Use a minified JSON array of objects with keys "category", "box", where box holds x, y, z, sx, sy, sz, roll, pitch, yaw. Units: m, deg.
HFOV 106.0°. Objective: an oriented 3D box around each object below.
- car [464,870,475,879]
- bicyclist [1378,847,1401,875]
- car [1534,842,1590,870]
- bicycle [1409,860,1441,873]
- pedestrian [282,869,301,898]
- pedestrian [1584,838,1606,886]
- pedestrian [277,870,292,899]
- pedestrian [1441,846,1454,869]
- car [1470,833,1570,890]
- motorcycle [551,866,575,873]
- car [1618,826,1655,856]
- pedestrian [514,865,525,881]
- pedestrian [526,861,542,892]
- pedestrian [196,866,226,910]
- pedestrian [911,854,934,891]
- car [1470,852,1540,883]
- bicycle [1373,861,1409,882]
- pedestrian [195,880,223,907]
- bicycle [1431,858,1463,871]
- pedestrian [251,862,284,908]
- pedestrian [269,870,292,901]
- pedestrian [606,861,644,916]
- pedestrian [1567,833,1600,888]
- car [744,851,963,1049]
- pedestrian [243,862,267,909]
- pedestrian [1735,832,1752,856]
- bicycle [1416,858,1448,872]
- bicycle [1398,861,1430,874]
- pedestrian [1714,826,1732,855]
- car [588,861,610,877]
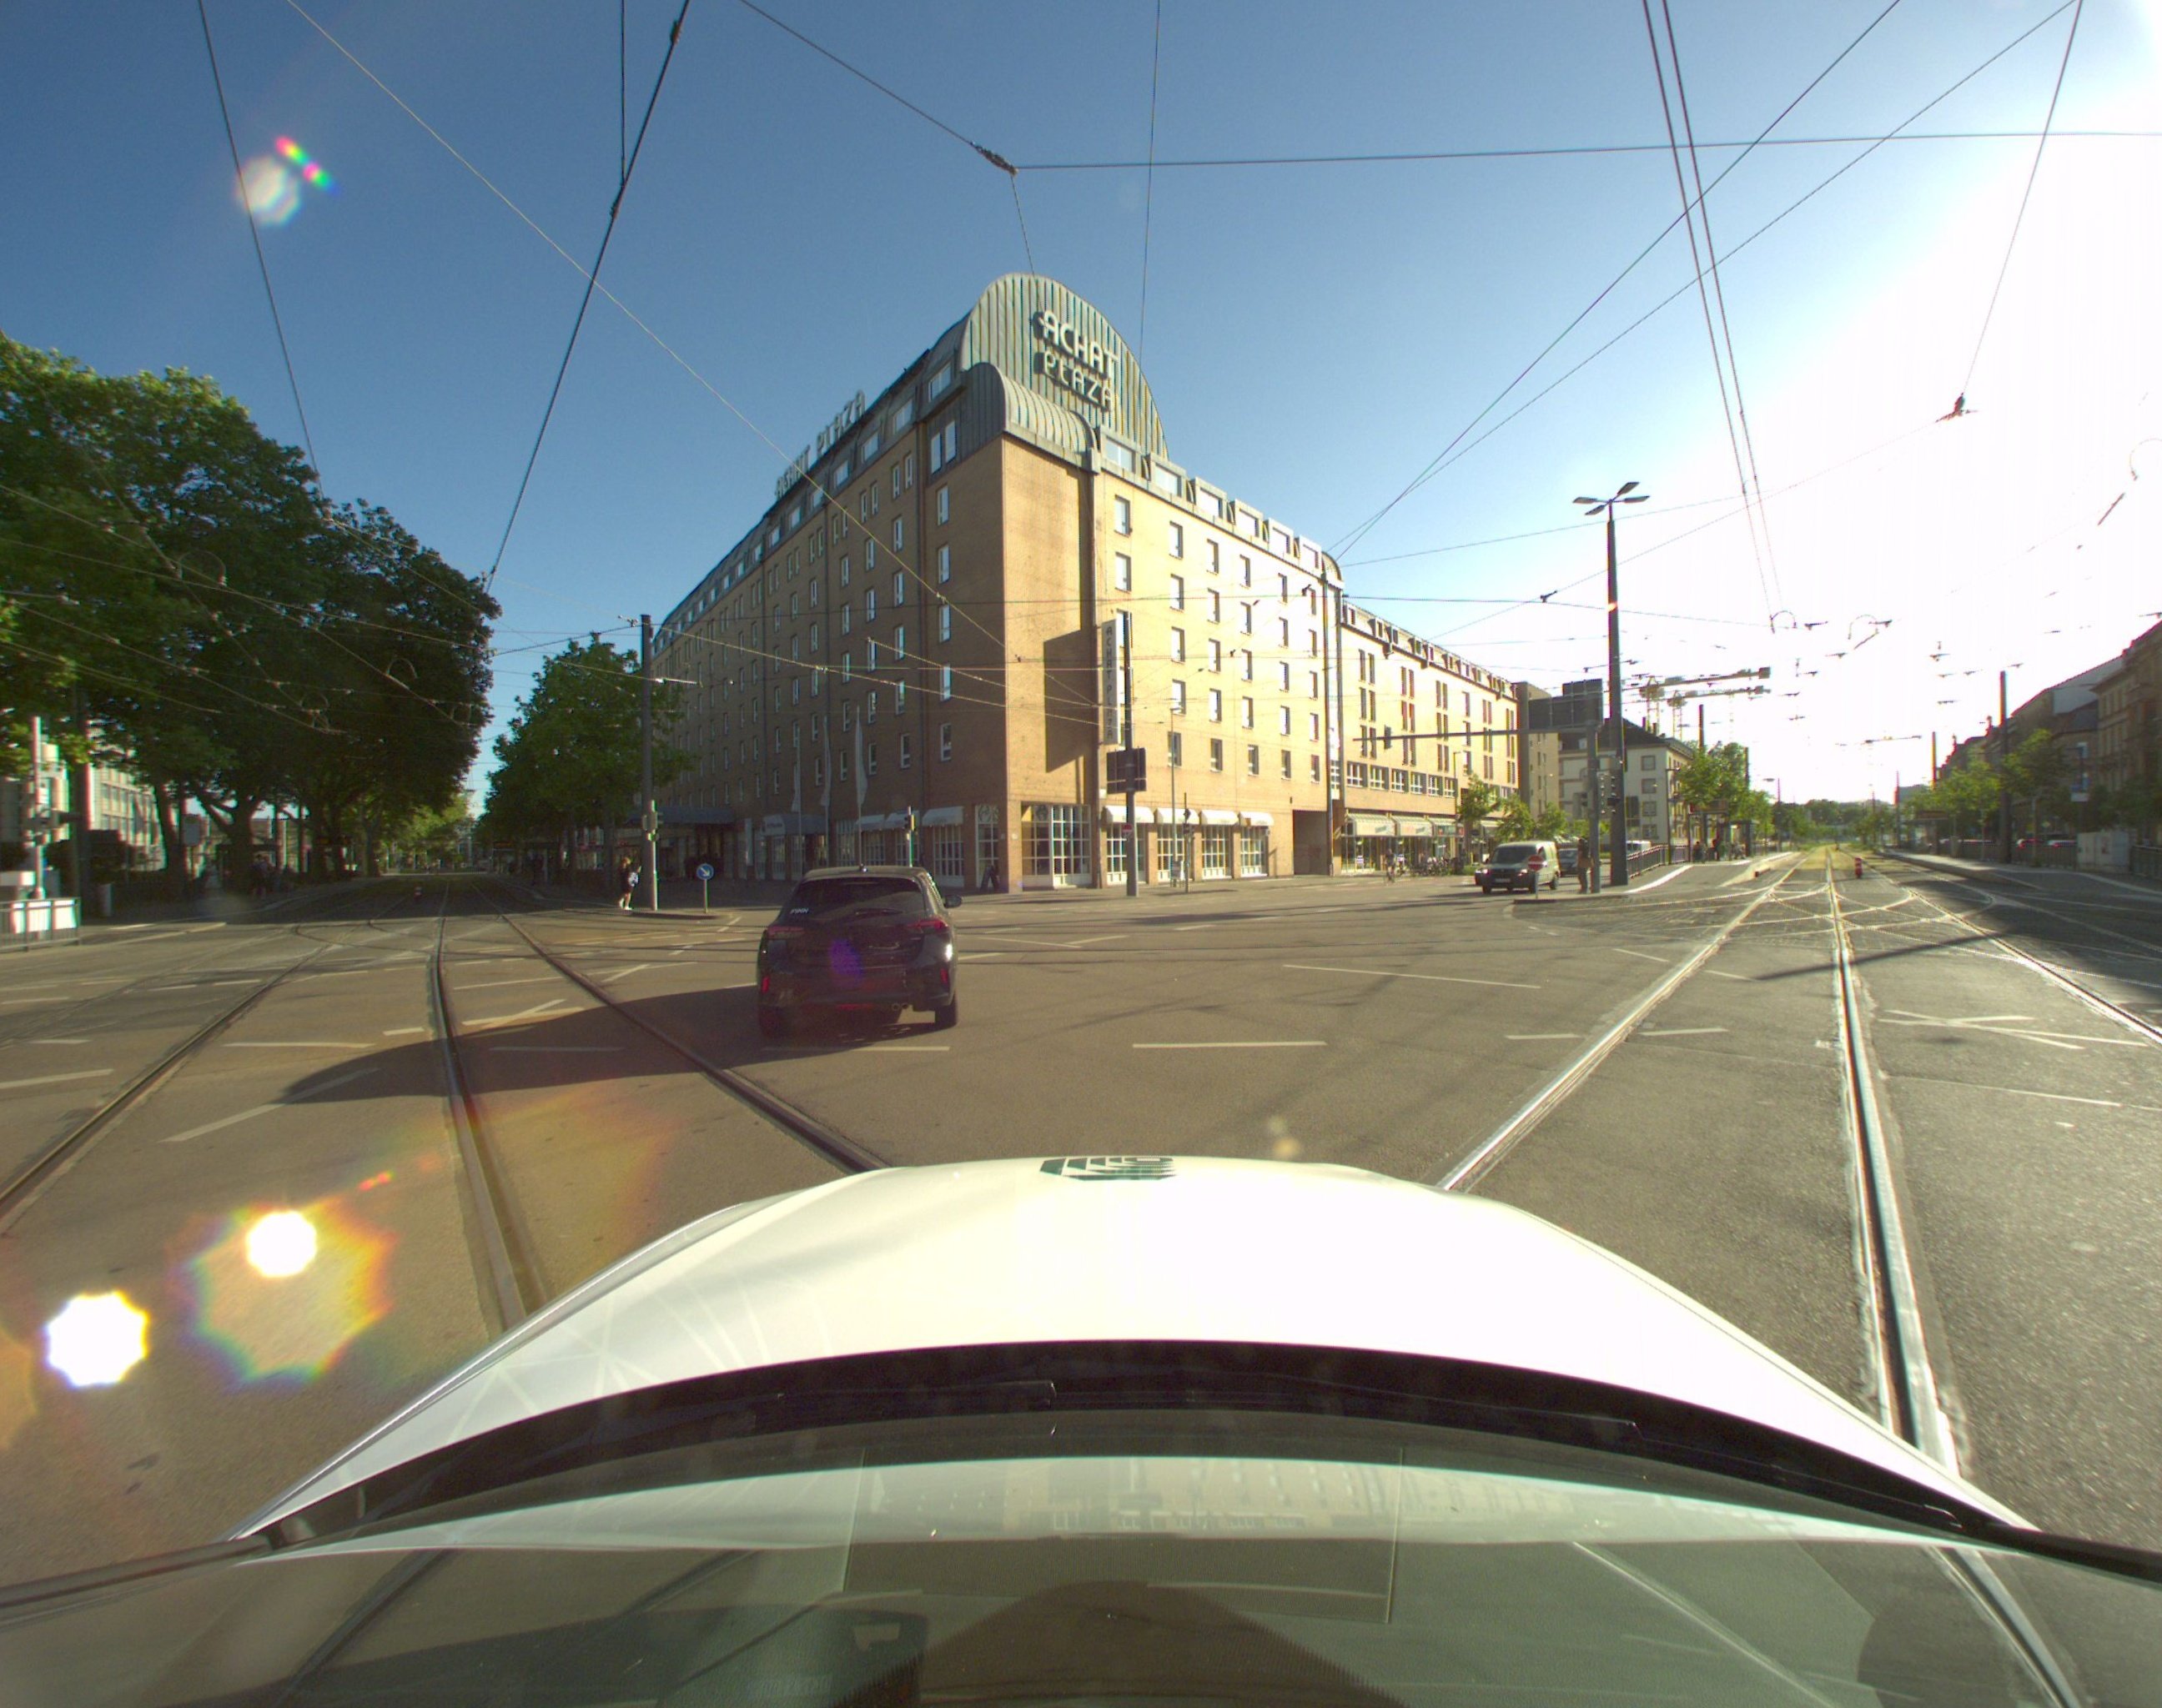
[{"category":"car","box":[-116.393,3.916,155.000,1.627,1.502,3.648,-1,0,-39]},{"category":"bicyclist","box":[15.750,0.341,41.590,0.802,1.377,0.931,-2,-1,42]},{"category":"car","box":[27.355,0.075,46.248,1.821,1.448,4.325,-4,-2,42]},{"category":"bicycle","box":[23.275,0.853,55.064,0.485,0.845,2.018,-1,0,-36]},{"category":"pedestrian","box":[-43.567,1.631,44.925,0.566,1.573,0.634,-1,1,-26]},{"category":"pedestrian","box":[17.216,0.262,27.296,0.575,1.577,0.651,-1,0,30]},{"category":"pedestrian","box":[-43.358,1.646,44.334,0.504,1.573,0.489,-1,1,-35]},{"category":"pedestrian","box":[29.242,0.294,65.018,0.569,1.764,0.710,-1,-1,-44]},{"category":"car","box":[15.657,0.246,28.962,4.130,1.836,1.822,-1,-2,-43]},{"category":"motorcycle","box":[-74.523,2.247,117.150,3.061,1.058,1.316,-1,0,22]},{"category":"car","box":[60.804,-1.470,89.070,2.354,2.998,8.524,-2,1,41]},{"category":"pedestrian","box":[-53.030,1.803,76.902,0.728,1.444,0.619,-1,0,-42]},{"category":"pedestrian","box":[-29.848,1.231,44.434,0.609,1.680,0.481,-3,1,-38]},{"category":"pedestrian","box":[-36.702,1.426,34.378,0.593,1.800,0.739,-1,0,-23]},{"category":"pedestrian","box":[-7.315,0.831,37.553,0.745,1.666,0.744,-2,0,-41]},{"category":"car","box":[19.531,0.614,37.445,1.821,1.268,4.256,-4,-2,42]},{"category":"bicycle","box":[15.887,0.886,41.717,0.802,0.991,2.524,-2,0,42]},{"category":"pedestrian","box":[-39.391,1.787,36.776,0.593,1.164,0.739,-1,0,-23]},{"category":"bicycle","box":[25.369,0.742,56.523,0.485,0.921,2.018,-1,0,-36]},{"category":"pedestrian","box":[-33.587,1.271,33.630,0.590,1.829,0.743,-1,0,-7]},{"category":"pedestrian","box":[-42.017,1.666,42.746,0.482,1.573,0.673,0,1,5]},{"category":"pedestrian","box":[-14.644,1.088,26.140,0.836,1.680,0.707,-3,1,-44]},{"category":"pedestrian","box":[15.875,0.201,25.736,0.714,1.727,0.598,-2,0,45]},{"category":"car","box":[-2.131,0.870,8.385,1.672,1.502,3.676,-2,-3,-10]},{"category":"pedestrian","box":[-33.315,1.264,32.855,0.640,1.829,0.735,-1,0,-43]},{"category":"pedestrian","box":[48.256,-0.735,59.337,0.852,1.670,0.789,-1,1,33]},{"category":"bicycle","box":[24.195,0.782,56.116,0.485,0.921,2.018,-1,0,-36]},{"category":"bicycle","box":[22.087,0.890,54.080,0.485,0.845,2.018,-1,0,-36]},{"category":"pedestrian","box":[41.959,-0.875,53.261,0.852,1.886,0.742,-1,1,33]},{"category":"car","box":[-53.761,1.650,90.731,1.685,1.652,3.649,-1,0,-37]}]
